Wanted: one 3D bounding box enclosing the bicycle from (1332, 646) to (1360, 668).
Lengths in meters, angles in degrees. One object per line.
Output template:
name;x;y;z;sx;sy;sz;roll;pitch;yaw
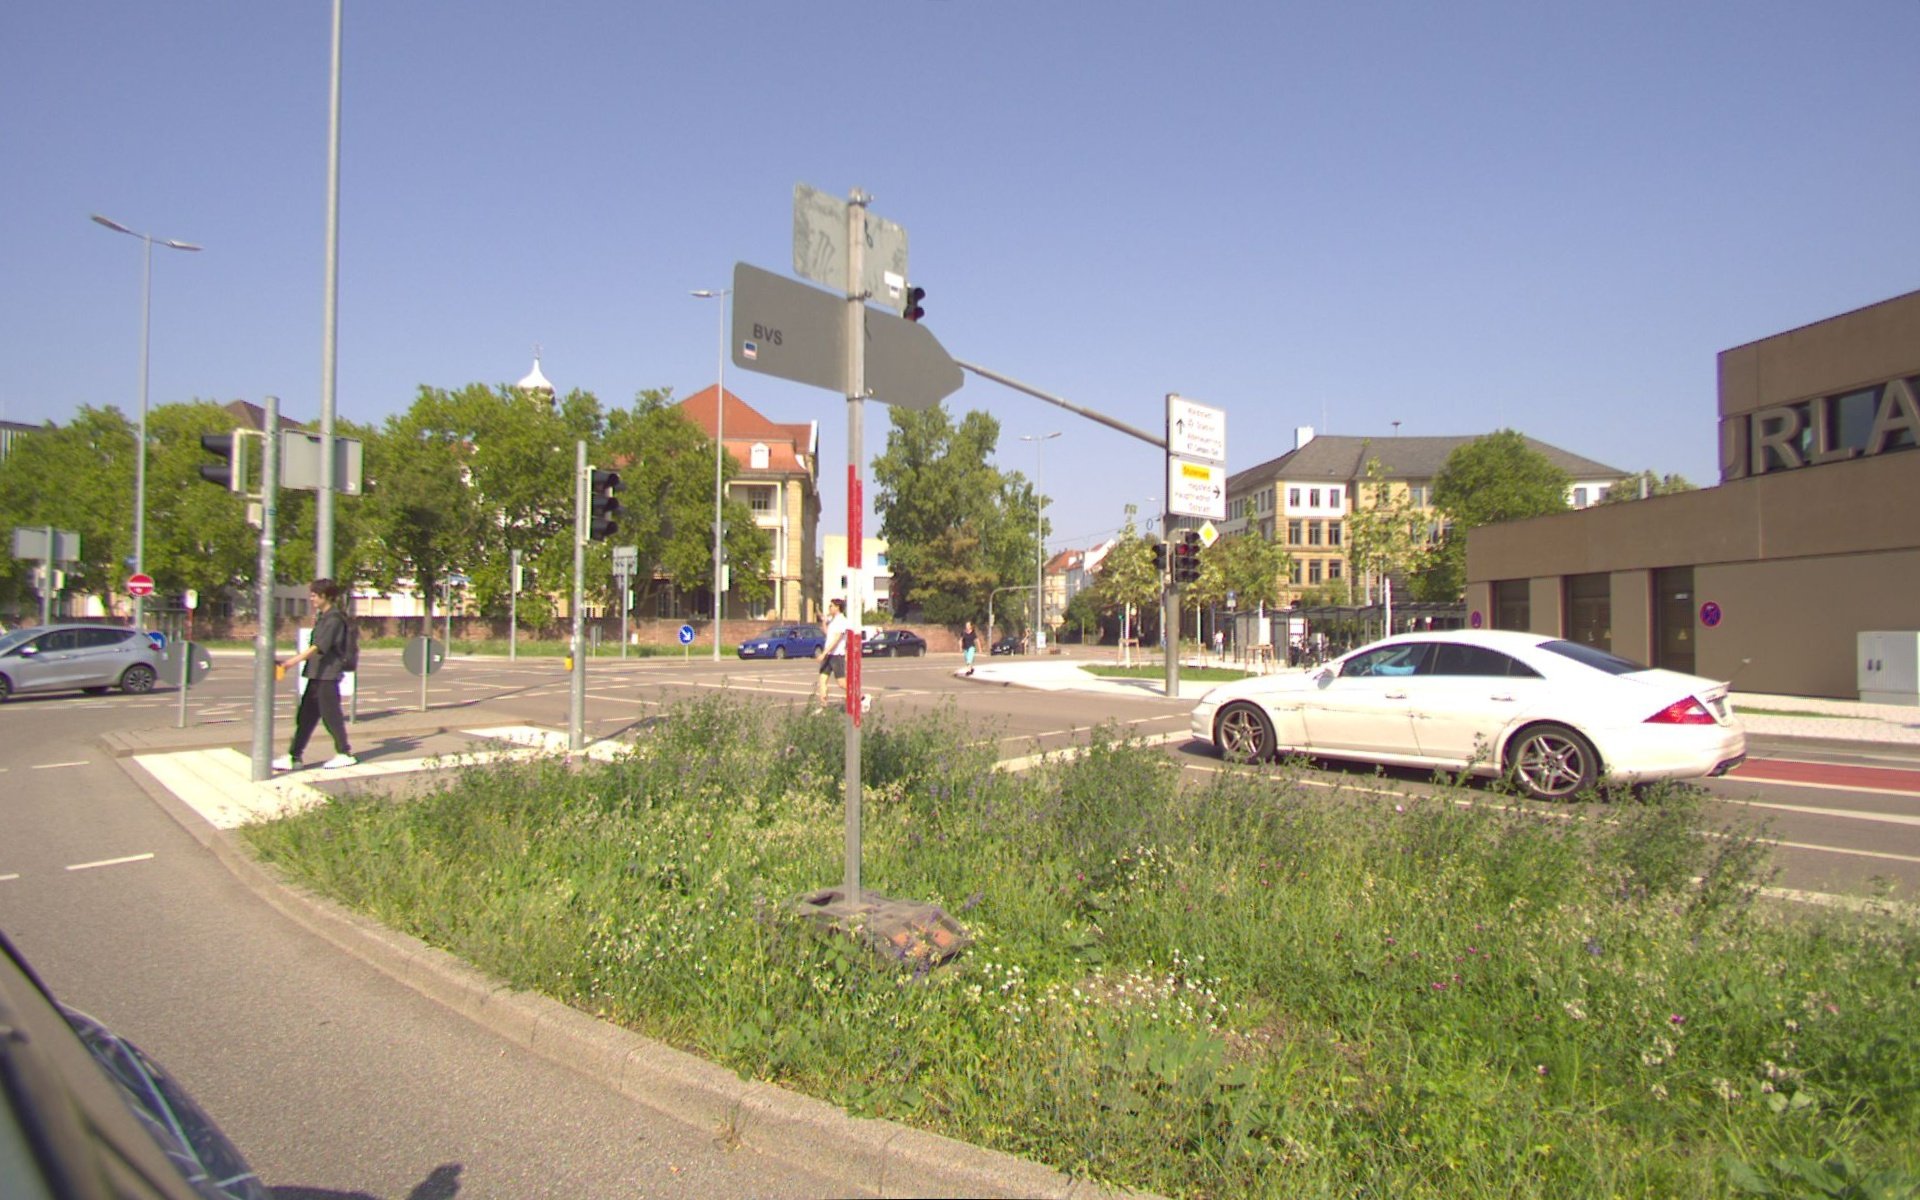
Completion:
bicycle;18.257;2.676;47.909;0.525;0.994;1.715;0;-2;-5

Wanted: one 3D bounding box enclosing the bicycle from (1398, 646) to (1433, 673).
bicycle;17.665;2.299;39.259;0.395;1.017;1.748;0;-2;-5

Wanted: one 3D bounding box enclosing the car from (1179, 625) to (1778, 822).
car;4.672;0.957;9.763;1.820;1.372;4.823;0;-1;-44

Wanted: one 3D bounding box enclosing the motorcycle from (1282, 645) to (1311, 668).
motorcycle;14.760;2.472;44.416;0.535;1.017;1.748;0;-2;-5

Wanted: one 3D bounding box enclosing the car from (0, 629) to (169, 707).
car;-18.156;1.286;19.840;1.712;1.444;3.827;-1;-2;25

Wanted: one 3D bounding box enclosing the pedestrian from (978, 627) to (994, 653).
pedestrian;2.066;3.166;79.502;0.821;2.029;0.895;-5;-5;43

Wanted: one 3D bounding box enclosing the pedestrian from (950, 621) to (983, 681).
pedestrian;0.176;1.359;27.079;0.746;1.577;0.664;1;-2;11

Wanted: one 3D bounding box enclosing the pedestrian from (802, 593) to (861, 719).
pedestrian;-1.928;0.832;15.236;0.569;1.847;0.687;-1;-3;34

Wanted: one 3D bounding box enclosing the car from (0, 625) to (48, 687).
car;-27.030;1.524;27.967;4.705;1.590;1.831;-1;-1;37

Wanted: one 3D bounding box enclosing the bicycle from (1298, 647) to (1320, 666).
bicycle;17.291;2.801;50.224;0.395;0.899;1.590;0;-2;-5

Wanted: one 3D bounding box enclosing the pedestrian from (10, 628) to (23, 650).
pedestrian;-73.691;3.065;79.027;0.588;1.664;0.481;-3;-4;12

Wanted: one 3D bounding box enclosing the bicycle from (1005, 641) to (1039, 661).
bicycle;4.103;3.365;66.975;0.884;1.214;3.044;-4;-4;32

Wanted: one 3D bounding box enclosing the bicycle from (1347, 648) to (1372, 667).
bicycle;19.020;2.720;48.162;0.404;0.899;1.590;0;-2;-5

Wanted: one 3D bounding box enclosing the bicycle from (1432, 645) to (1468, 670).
bicycle;21.037;2.451;43.447;0.454;1.017;1.877;0;-2;-5

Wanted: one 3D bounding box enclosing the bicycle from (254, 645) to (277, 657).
bicycle;-51.511;3.776;75.073;1.531;0.842;0.433;0;-2;7

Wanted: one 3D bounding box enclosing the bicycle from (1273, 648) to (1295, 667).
bicycle;15.698;2.788;49.038;0.395;0.899;1.590;0;-2;-5

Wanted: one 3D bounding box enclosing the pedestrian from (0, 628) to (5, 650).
pedestrian;-73.941;2.978;77.769;0.588;1.664;0.518;-3;-4;12

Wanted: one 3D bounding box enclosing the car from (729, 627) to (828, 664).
car;-7.073;1.775;39.863;1.600;1.339;4.292;-1;-2;27

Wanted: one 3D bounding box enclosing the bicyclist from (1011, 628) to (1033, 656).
bicyclist;4.126;2.796;67.080;0.884;1.759;1.354;-4;-4;32

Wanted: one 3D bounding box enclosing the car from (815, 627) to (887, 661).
car;-5.770;2.358;53.989;1.751;1.691;3.956;-4;-4;32

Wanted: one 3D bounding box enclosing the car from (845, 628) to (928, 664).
car;-3.351;2.111;46.896;1.991;1.564;3.961;-1;-2;29

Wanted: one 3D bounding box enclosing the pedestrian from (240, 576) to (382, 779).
pedestrian;-6.346;0.721;9.910;1.066;1.854;0.731;1;-2;-42

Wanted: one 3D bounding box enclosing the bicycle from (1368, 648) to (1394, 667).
bicycle;20.131;2.738;48.400;0.404;0.899;1.590;0;-2;-5

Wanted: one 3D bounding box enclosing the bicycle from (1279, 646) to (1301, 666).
bicycle;16.365;2.764;50.151;0.415;0.975;1.590;0;-2;-5

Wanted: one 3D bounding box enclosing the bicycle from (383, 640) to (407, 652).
bicycle;-41.357;3.370;74.056;1.530;0.842;0.433;0;-2;5

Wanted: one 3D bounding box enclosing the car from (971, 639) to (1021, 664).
car;2.584;3.602;71.287;1.751;1.691;3.956;-4;-4;32
